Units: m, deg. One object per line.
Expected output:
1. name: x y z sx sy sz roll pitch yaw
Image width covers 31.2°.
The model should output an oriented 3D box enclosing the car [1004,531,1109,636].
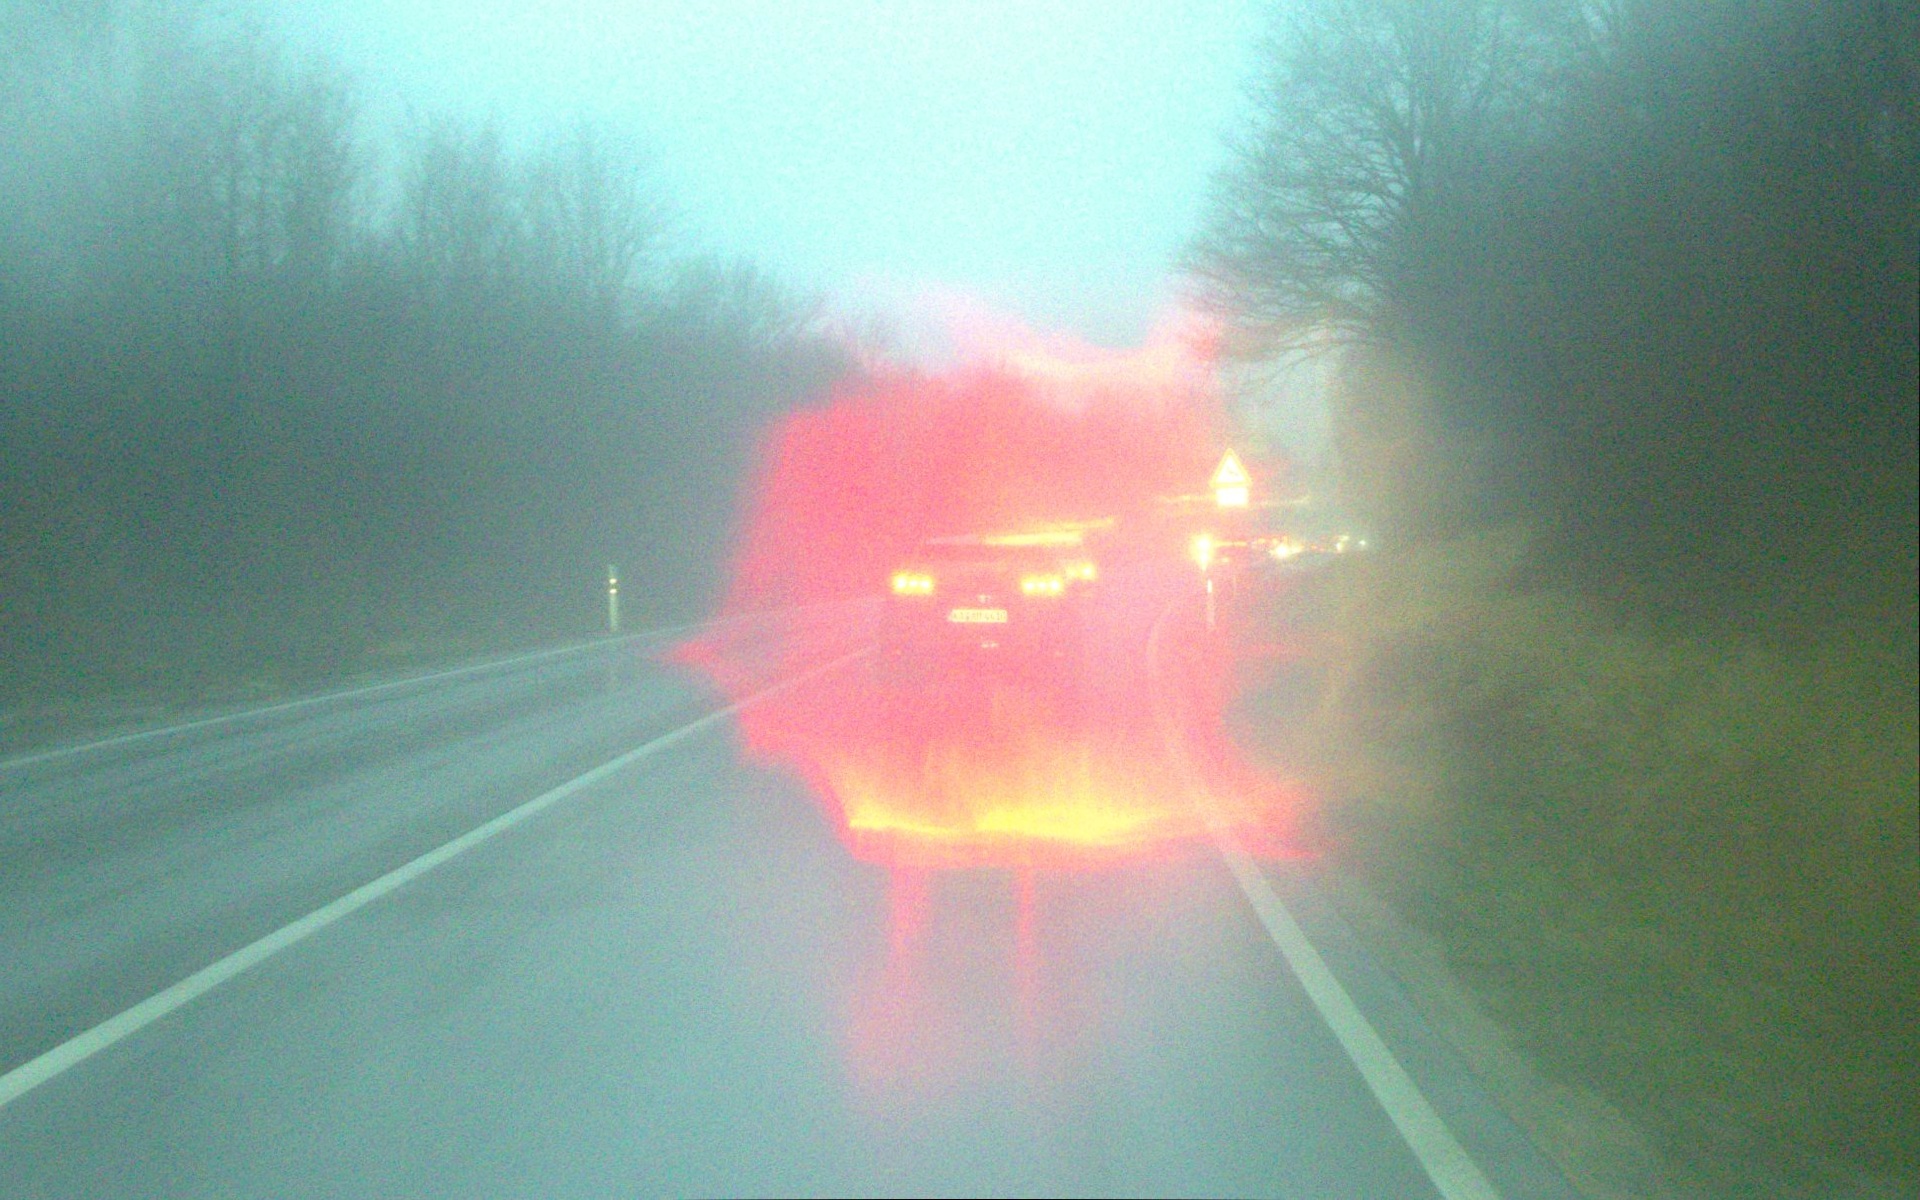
1. car: 1.627 -0.303 57.323 1.679 1.669 4.098 -1 1 2

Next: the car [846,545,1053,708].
1. car: -0.036 0.195 31.503 1.679 1.385 4.098 -1 1 3
